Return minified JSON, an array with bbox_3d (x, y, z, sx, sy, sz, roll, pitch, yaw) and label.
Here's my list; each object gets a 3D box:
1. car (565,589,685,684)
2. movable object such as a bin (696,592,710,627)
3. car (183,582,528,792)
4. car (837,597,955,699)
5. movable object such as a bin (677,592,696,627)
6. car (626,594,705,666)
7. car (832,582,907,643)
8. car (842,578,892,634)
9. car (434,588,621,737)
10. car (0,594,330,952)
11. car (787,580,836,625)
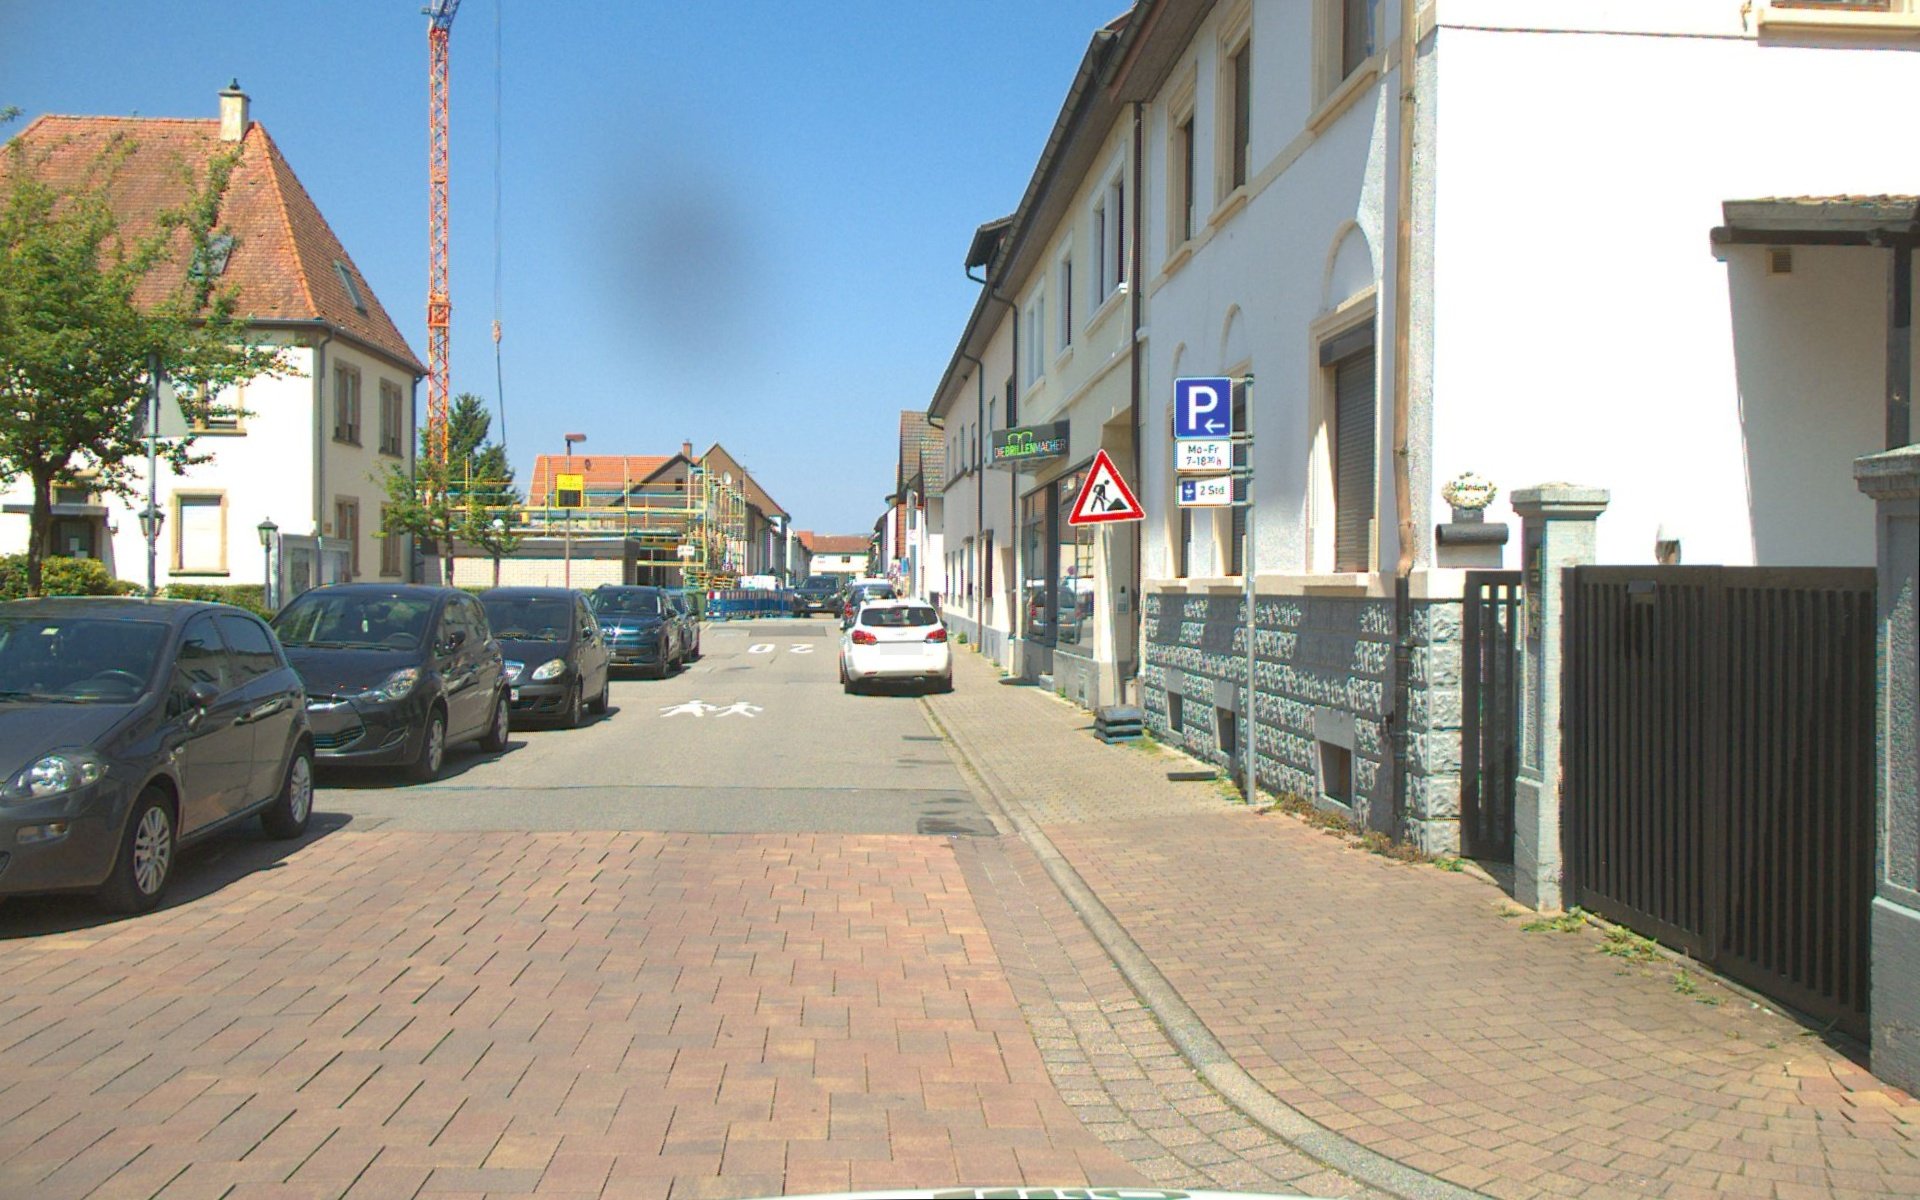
[{"bbox_3d":[-6.246,0.632,31.208,1.791,1.659,4.212,0,0,-6],"label":"car"},{"bbox_3d":[-8.750,0.324,56.301,0.424,1.176,0.363,0,0,-14],"label":"movable object such as a bin"},{"bbox_3d":[-5.220,0.659,14.867,1.779,1.633,4.022,0,0,-3],"label":"car"},{"bbox_3d":[-1.096,0.754,28.033,1.849,1.569,4.240,0,0,-3],"label":"car"},{"bbox_3d":[-9.234,0.309,55.770,0.610,1.176,0.675,0,0,-11],"label":"movable object such as a bin"},{"bbox_3d":[-6.485,0.621,36.700,1.408,1.500,3.782,0,0,-5],"label":"car"},{"bbox_3d":[-2.655,0.322,47.732,1.849,1.583,3.889,-3,1,-7],"label":"car"},{"bbox_3d":[-2.992,0.163,52.903,1.533,1.641,3.540,0,3,-4],"label":"car"},{"bbox_3d":[-5.264,0.692,20.548,1.605,1.657,3.765,0,1,-5],"label":"car"},{"bbox_3d":[-4.787,0.741,8.985,1.670,1.523,3.851,0,0,-7],"label":"car"},{"bbox_3d":[-5.768,0.077,64.203,1.845,1.697,4.149,0,0,-5],"label":"car"}]
